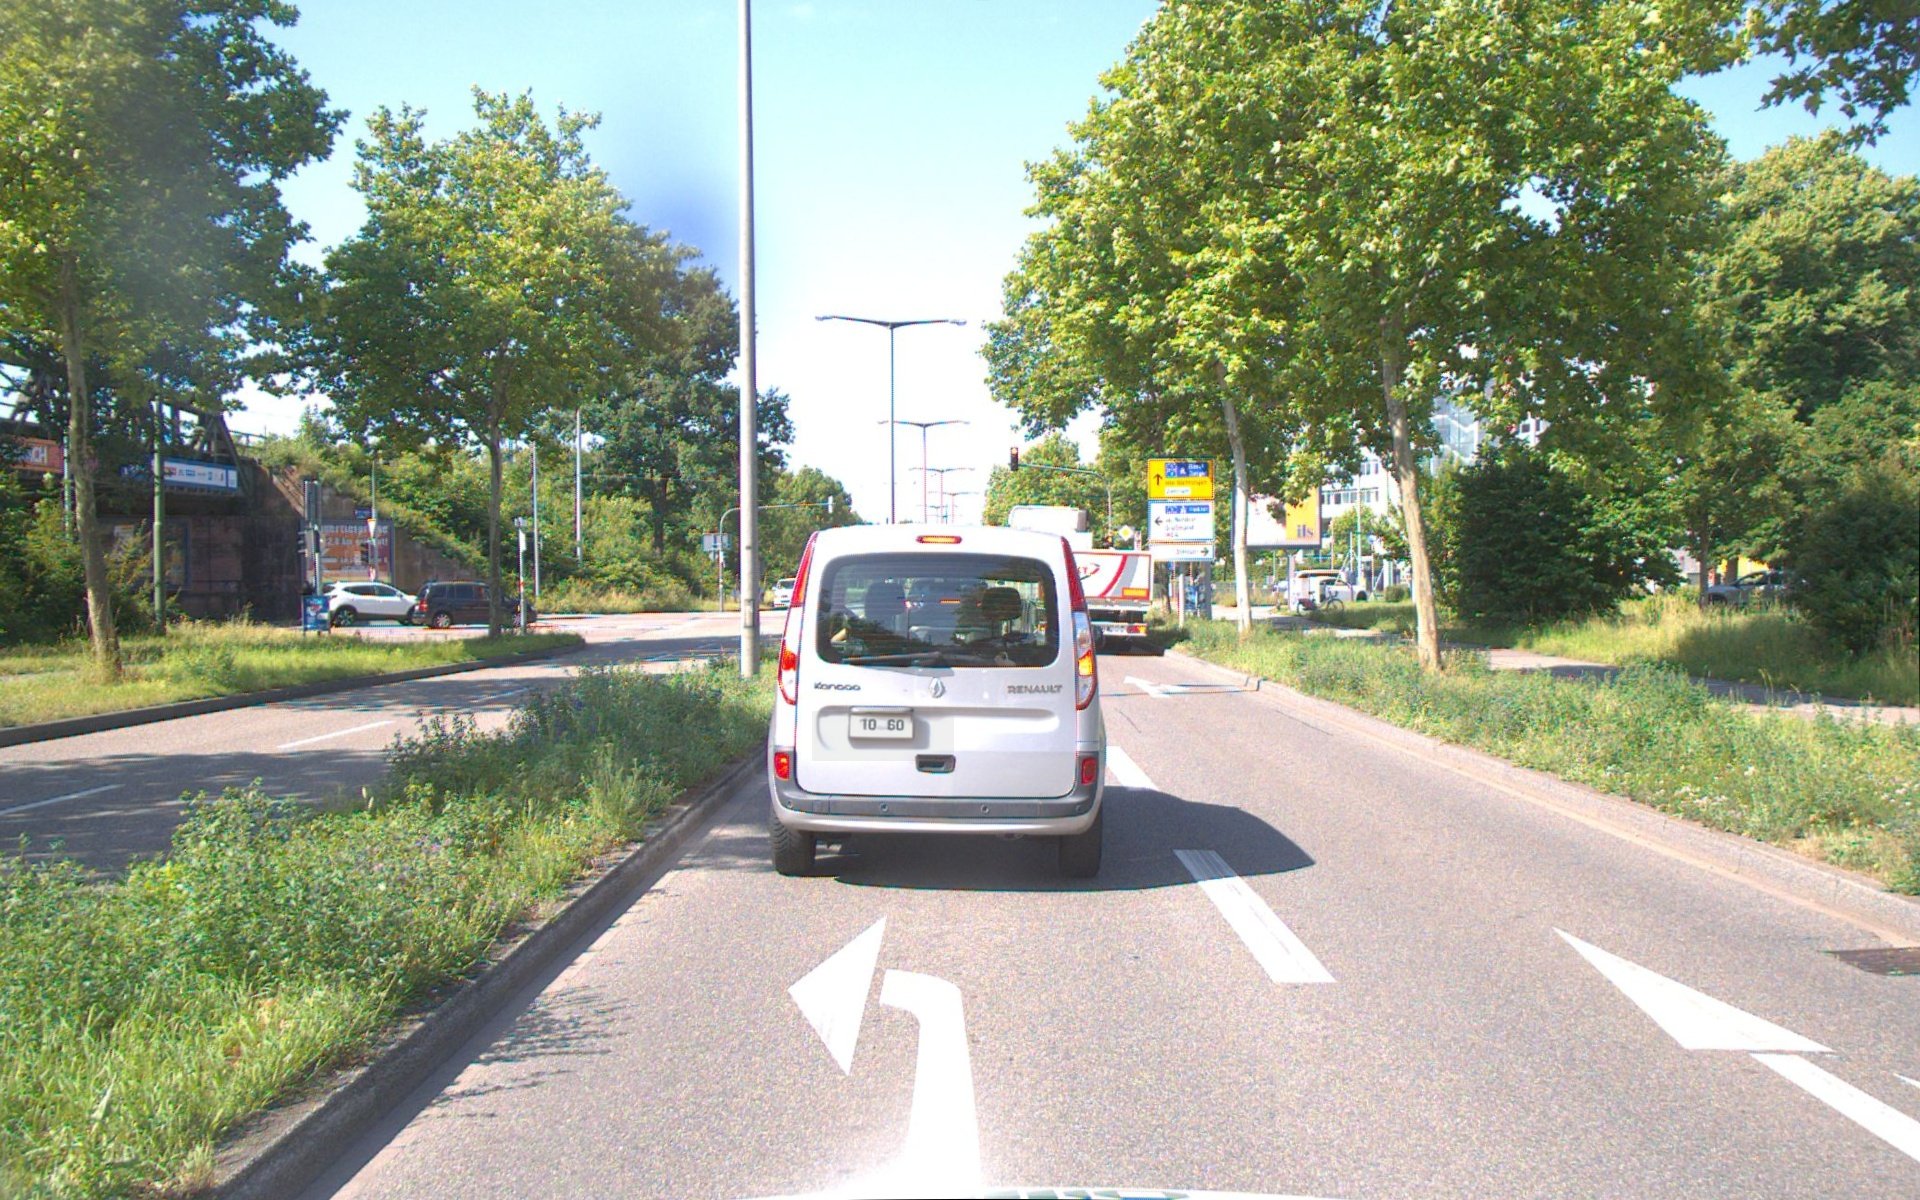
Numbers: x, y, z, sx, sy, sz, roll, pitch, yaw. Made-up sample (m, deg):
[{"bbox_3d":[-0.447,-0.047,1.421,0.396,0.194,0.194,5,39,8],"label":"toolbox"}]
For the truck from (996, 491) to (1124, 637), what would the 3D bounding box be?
[{"bbox_3d":[2.730,-0.965,47.466,3.009,3.823,7.474,1,0,-1],"label":"truck"}]

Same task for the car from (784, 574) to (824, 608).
[{"bbox_3d":[-9.374,-0.550,99.566,1.953,1.924,4.986,-2,0,-1],"label":"car"}]

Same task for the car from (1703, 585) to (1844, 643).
[{"bbox_3d":[25.767,0.419,52.433,3.685,1.746,1.757,1,0,43],"label":"car"}]

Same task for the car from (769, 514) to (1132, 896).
[{"bbox_3d":[-0.072,0.495,9.880,1.713,1.803,3.948,1,0,-1],"label":"car"}]

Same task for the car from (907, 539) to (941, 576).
[{"bbox_3d":[-2.106,-2.462,95.985,1.681,2.049,3.995,1,0,-6],"label":"car"}]

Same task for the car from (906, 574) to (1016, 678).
[{"bbox_3d":[-0.047,0.420,29.499,1.773,1.713,3.998,1,0,-3],"label":"car"}]

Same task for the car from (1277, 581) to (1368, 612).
[{"bbox_3d":[17.709,-0.154,80.813,4.394,1.452,1.713,1,0,-31],"label":"car"}]

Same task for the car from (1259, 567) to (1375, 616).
[{"bbox_3d":[12.905,-0.306,59.886,3.903,1.691,1.724,1,0,5],"label":"car"}]

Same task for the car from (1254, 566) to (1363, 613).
[{"bbox_3d":[13.314,-0.404,63.371,3.903,1.691,1.724,1,0,5],"label":"car"}]

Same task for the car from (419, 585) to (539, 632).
[{"bbox_3d":[-17.235,0.297,59.271,3.934,1.601,1.925,1,0,-24],"label":"car"}]

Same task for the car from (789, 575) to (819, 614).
[{"bbox_3d":[-10.997,-0.412,116.308,2.019,2.659,5.861,1,0,-6],"label":"car"}]

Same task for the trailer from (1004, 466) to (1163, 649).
[{"bbox_3d":[2.762,-0.922,40.976,2.954,3.806,12.239,1,0,0],"label":"trailer"}]

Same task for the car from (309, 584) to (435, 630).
[{"bbox_3d":[-21.906,0.272,61.627,4.067,1.655,1.976,1,0,-35],"label":"car"}]

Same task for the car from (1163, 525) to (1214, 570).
[{"bbox_3d":[9.813,-2.228,71.177,1.778,1.826,3.444,1,0,1],"label":"car"}]

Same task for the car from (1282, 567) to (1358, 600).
[{"bbox_3d":[23.395,-1.068,107.610,4.433,2.049,1.999,1,0,-2],"label":"car"}]
